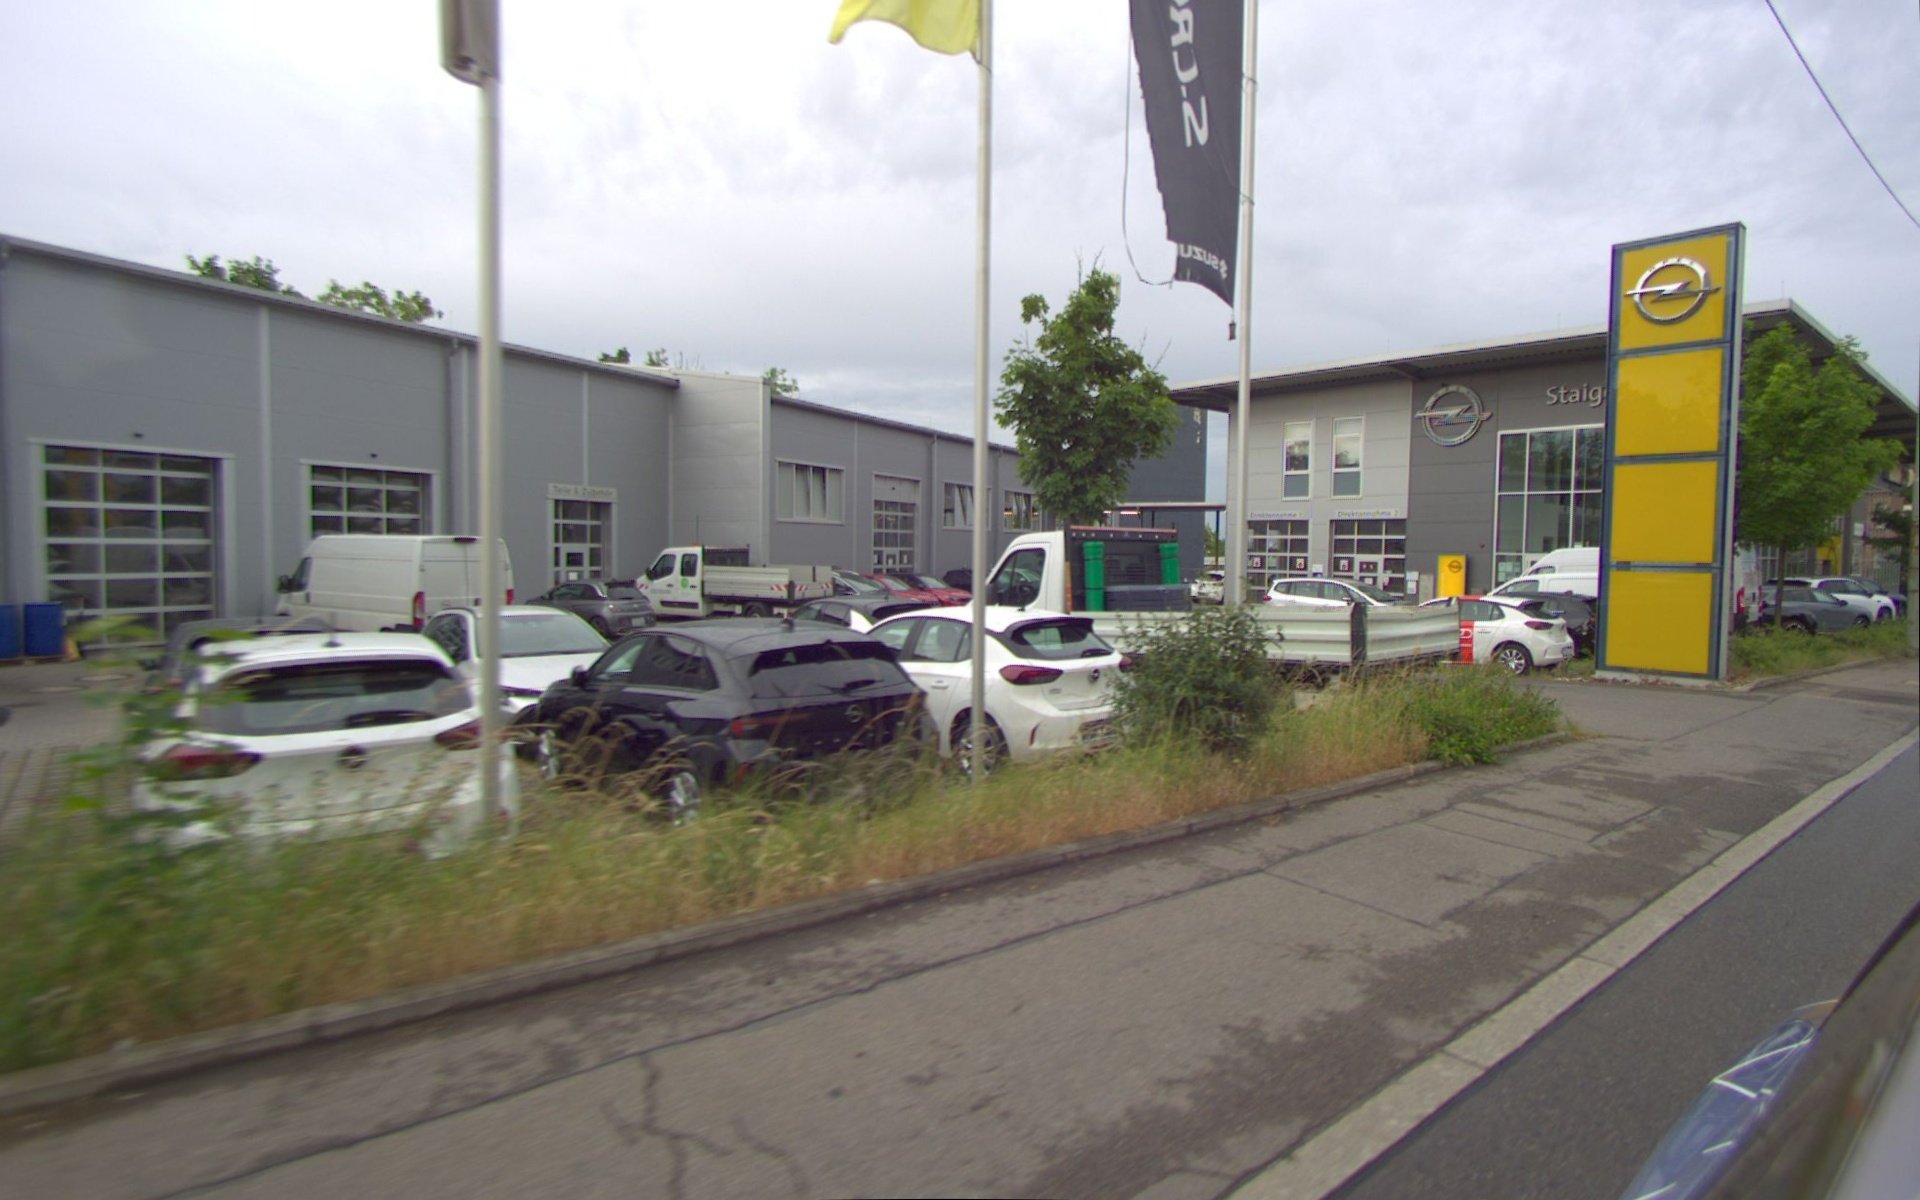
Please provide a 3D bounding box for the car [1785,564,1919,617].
[{"bbox_3d":[32.128,-0.341,36.010,4.335,1.731,2.005,1,3,-14],"label":"car"}]

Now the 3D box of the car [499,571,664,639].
[{"bbox_3d":[-9.644,0.076,25.781,3.864,1.571,1.809,1,1,27],"label":"car"}]

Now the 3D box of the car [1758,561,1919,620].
[{"bbox_3d":[28.629,-0.314,32.853,4.481,1.731,2.006,1,3,-17],"label":"car"}]

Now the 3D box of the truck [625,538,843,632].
[{"bbox_3d":[-6.616,-0.543,29.436,6.220,2.262,2.345,4,6,29],"label":"truck"}]

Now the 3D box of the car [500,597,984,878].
[{"bbox_3d":[-1.843,0.765,7.731,1.885,1.472,3.863,0,2,-44],"label":"car"}]

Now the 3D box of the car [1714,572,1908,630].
[{"bbox_3d":[24.682,0.011,29.417,4.476,1.472,1.921,1,3,-13],"label":"car"}]

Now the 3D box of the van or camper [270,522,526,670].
[{"bbox_3d":[-11.430,-0.180,20.472,5.247,2.520,2.262,4,2,32],"label":"van or camper"}]

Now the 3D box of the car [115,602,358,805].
[{"bbox_3d":[-6.908,0.793,9.643,1.600,1.435,3.633,0,1,-38],"label":"car"}]

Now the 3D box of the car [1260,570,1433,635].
[{"bbox_3d":[10.768,0.014,28.395,1.834,1.660,4.146,0,2,-42],"label":"car"}]

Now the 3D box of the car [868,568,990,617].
[{"bbox_3d":[-1.099,-0.304,35.062,3.977,1.526,1.806,2,2,37],"label":"car"}]

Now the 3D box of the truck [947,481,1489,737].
[{"bbox_3d":[2.441,0.017,10.757,2.305,2.039,5.155,1,1,-42],"label":"truck"}]

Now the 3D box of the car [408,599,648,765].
[{"bbox_3d":[-4.942,0.754,11.302,1.600,1.435,3.701,0,1,-38],"label":"car"}]

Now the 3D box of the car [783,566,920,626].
[{"bbox_3d":[-3.318,-0.169,30.657,3.977,1.652,1.806,2,2,37],"label":"car"}]

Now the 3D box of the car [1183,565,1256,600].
[{"bbox_3d":[11.423,-0.772,44.436,1.985,1.438,3.954,2,1,32],"label":"car"}]

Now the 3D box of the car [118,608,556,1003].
[{"bbox_3d":[-4.002,0.881,6.284,1.778,1.513,3.774,0,2,-38],"label":"car"}]

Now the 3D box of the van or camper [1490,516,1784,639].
[{"bbox_3d":[16.873,-0.574,25.538,2.310,2.758,5.748,1,1,-40],"label":"van or camper"}]

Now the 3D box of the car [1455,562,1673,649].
[{"bbox_3d":[14.412,0.046,24.346,1.810,1.869,4.138,-3,3,-38],"label":"car"}]

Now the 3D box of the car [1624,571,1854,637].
[{"bbox_3d":[20.790,0.073,27.189,4.441,1.472,1.913,2,3,7],"label":"car"}]

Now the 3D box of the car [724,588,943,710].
[{"bbox_3d":[-2.012,0.622,15.247,1.530,1.538,3.699,0,2,-40],"label":"car"}]

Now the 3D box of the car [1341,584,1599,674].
[{"bbox_3d":[9.637,0.480,19.378,1.861,1.446,3.996,1,1,-39],"label":"car"}]

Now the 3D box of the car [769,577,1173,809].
[{"bbox_3d":[-0.046,0.663,9.518,1.708,1.691,3.694,0,2,-44],"label":"car"}]

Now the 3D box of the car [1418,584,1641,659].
[{"bbox_3d":[12.589,0.402,22.555,1.717,1.448,3.995,-3,3,-40],"label":"car"}]

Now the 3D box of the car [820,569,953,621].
[{"bbox_3d":[-2.391,-0.209,32.856,3.964,1.526,1.812,2,2,28],"label":"car"}]

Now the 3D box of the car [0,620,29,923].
[{"bbox_3d":[-5.885,0.952,4.977,1.729,1.527,3.995,1,1,-40],"label":"car"}]
